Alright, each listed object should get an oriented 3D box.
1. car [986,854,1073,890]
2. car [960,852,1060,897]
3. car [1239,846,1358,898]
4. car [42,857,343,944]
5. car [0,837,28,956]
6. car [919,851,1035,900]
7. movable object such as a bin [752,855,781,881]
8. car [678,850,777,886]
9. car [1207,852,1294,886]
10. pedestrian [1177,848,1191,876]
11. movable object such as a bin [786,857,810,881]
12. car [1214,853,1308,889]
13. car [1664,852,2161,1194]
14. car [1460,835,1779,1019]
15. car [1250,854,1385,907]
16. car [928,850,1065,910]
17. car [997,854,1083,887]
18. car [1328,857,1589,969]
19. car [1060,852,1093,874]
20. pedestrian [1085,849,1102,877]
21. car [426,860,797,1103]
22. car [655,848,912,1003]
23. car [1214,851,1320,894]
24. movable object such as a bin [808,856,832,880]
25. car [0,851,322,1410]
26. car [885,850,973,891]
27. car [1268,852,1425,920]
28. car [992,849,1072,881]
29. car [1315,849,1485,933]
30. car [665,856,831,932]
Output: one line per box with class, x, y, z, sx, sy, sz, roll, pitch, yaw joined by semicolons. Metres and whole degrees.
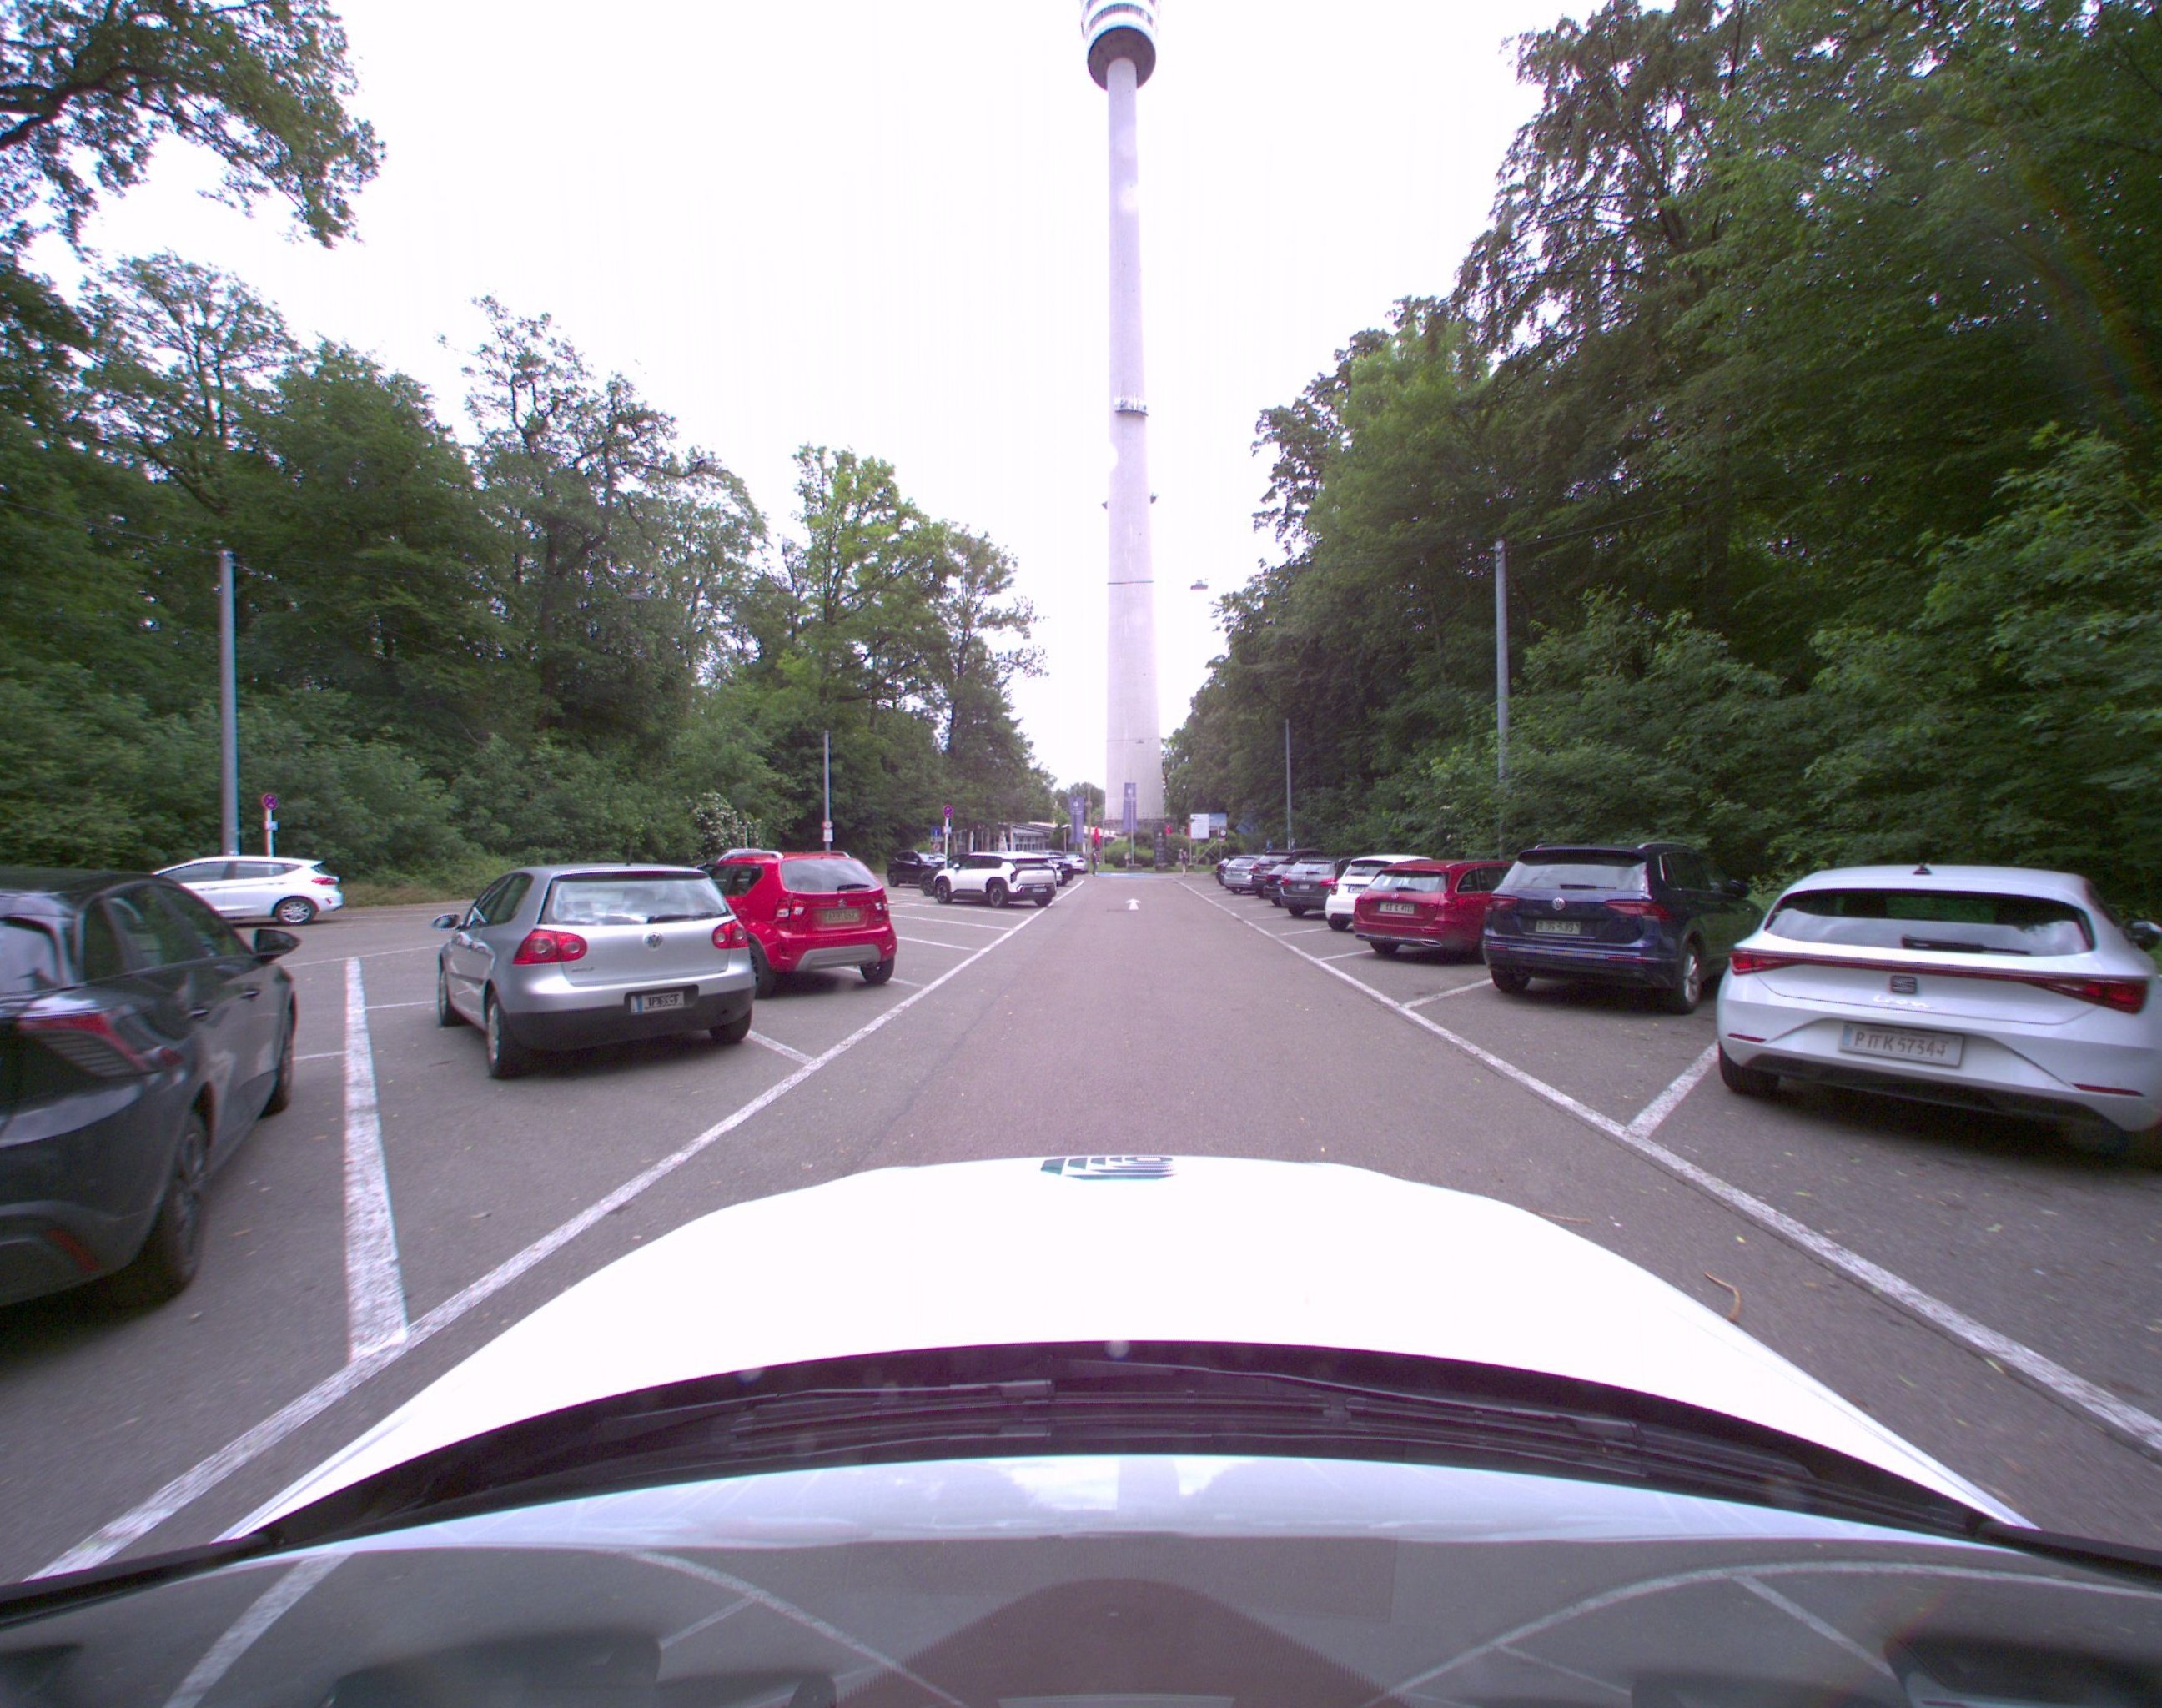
car;-2.279;0.755;35.324;1.782;1.443;3.800;-1;0;-41
car;-2.785;0.740;31.381;1.857;1.587;3.929;-1;1;-42
car;7.590;0.576;28.200;4.286;1.636;1.942;-1;0;-42
car;-18.112;0.856;16.939;4.021;1.510;1.847;-1;1;-41
car;-17.974;0.667;10.695;4.734;1.767;2.087;-1;1;-41
car;-3.693;0.702;28.602;3.949;1.554;1.885;0;1;42
movable object such as a bin;-17.764;0.775;46.064;1.117;1.425;1.133;-1;0;7
car;-17.377;0.660;40.128;4.093;1.685;1.858;-1;0;-41
car;8.048;0.659;38.495;4.227;1.462;1.877;-1;0;-41
pedestrian;6.301;0.480;49.791;0.756;1.725;0.900;0;0;15
movable object such as a bin;-16.195;0.832;46.613;1.129;1.314;1.174;-1;0;-26
car;7.689;0.675;34.604;4.022;1.422;1.887;-1;0;-42
car;5.700;0.724;5.471;4.140;1.438;1.848;0;0;-39
car;6.188;0.631;9.189;4.140;1.618;1.821;0;0;-39
car;7.078;0.724;24.135;4.287;1.377;1.941;-1;0;-44
car;-2.565;0.709;24.065;1.857;1.596;4.138;-1;1;-44
car;-1.983;0.748;38.509;1.770;1.443;4.226;-1;0;-43
car;5.960;0.770;12.651;4.316;1.414;1.906;0;0;-38
car;-0.240;0.579;55.414;1.884;1.428;4.005;-1;0;5
pedestrian;0.784;0.536;50.996;0.887;1.725;0.768;0;0;18
car;-4.273;0.801;7.111;1.888;1.483;3.951;0;0;-44
car;-3.874;0.738;10.295;1.696;1.585;3.609;-1;0;-45
car;7.145;0.671;31.136;4.019;1.467;1.814;-1;1;-38
movable object such as a bin;-15.103;0.807;47.113;1.175;1.307;1.302;-1;0;-26
car;-4.657;0.766;3.439;1.840;1.523;4.053;0;0;-39
car;-6.635;0.659;35.327;1.909;1.663;3.951;-1;0;-44
car;6.607;0.698;20.063;4.209;1.457;1.783;-1;0;-42
car;-2.599;0.541;42.523;1.840;1.608;4.334;-1;0;-43
car;6.607;0.674;16.718;3.601;1.504;1.715;-1;0;-40
car;-7.406;0.783;17.885;1.880;1.442;4.263;-1;0;-45
